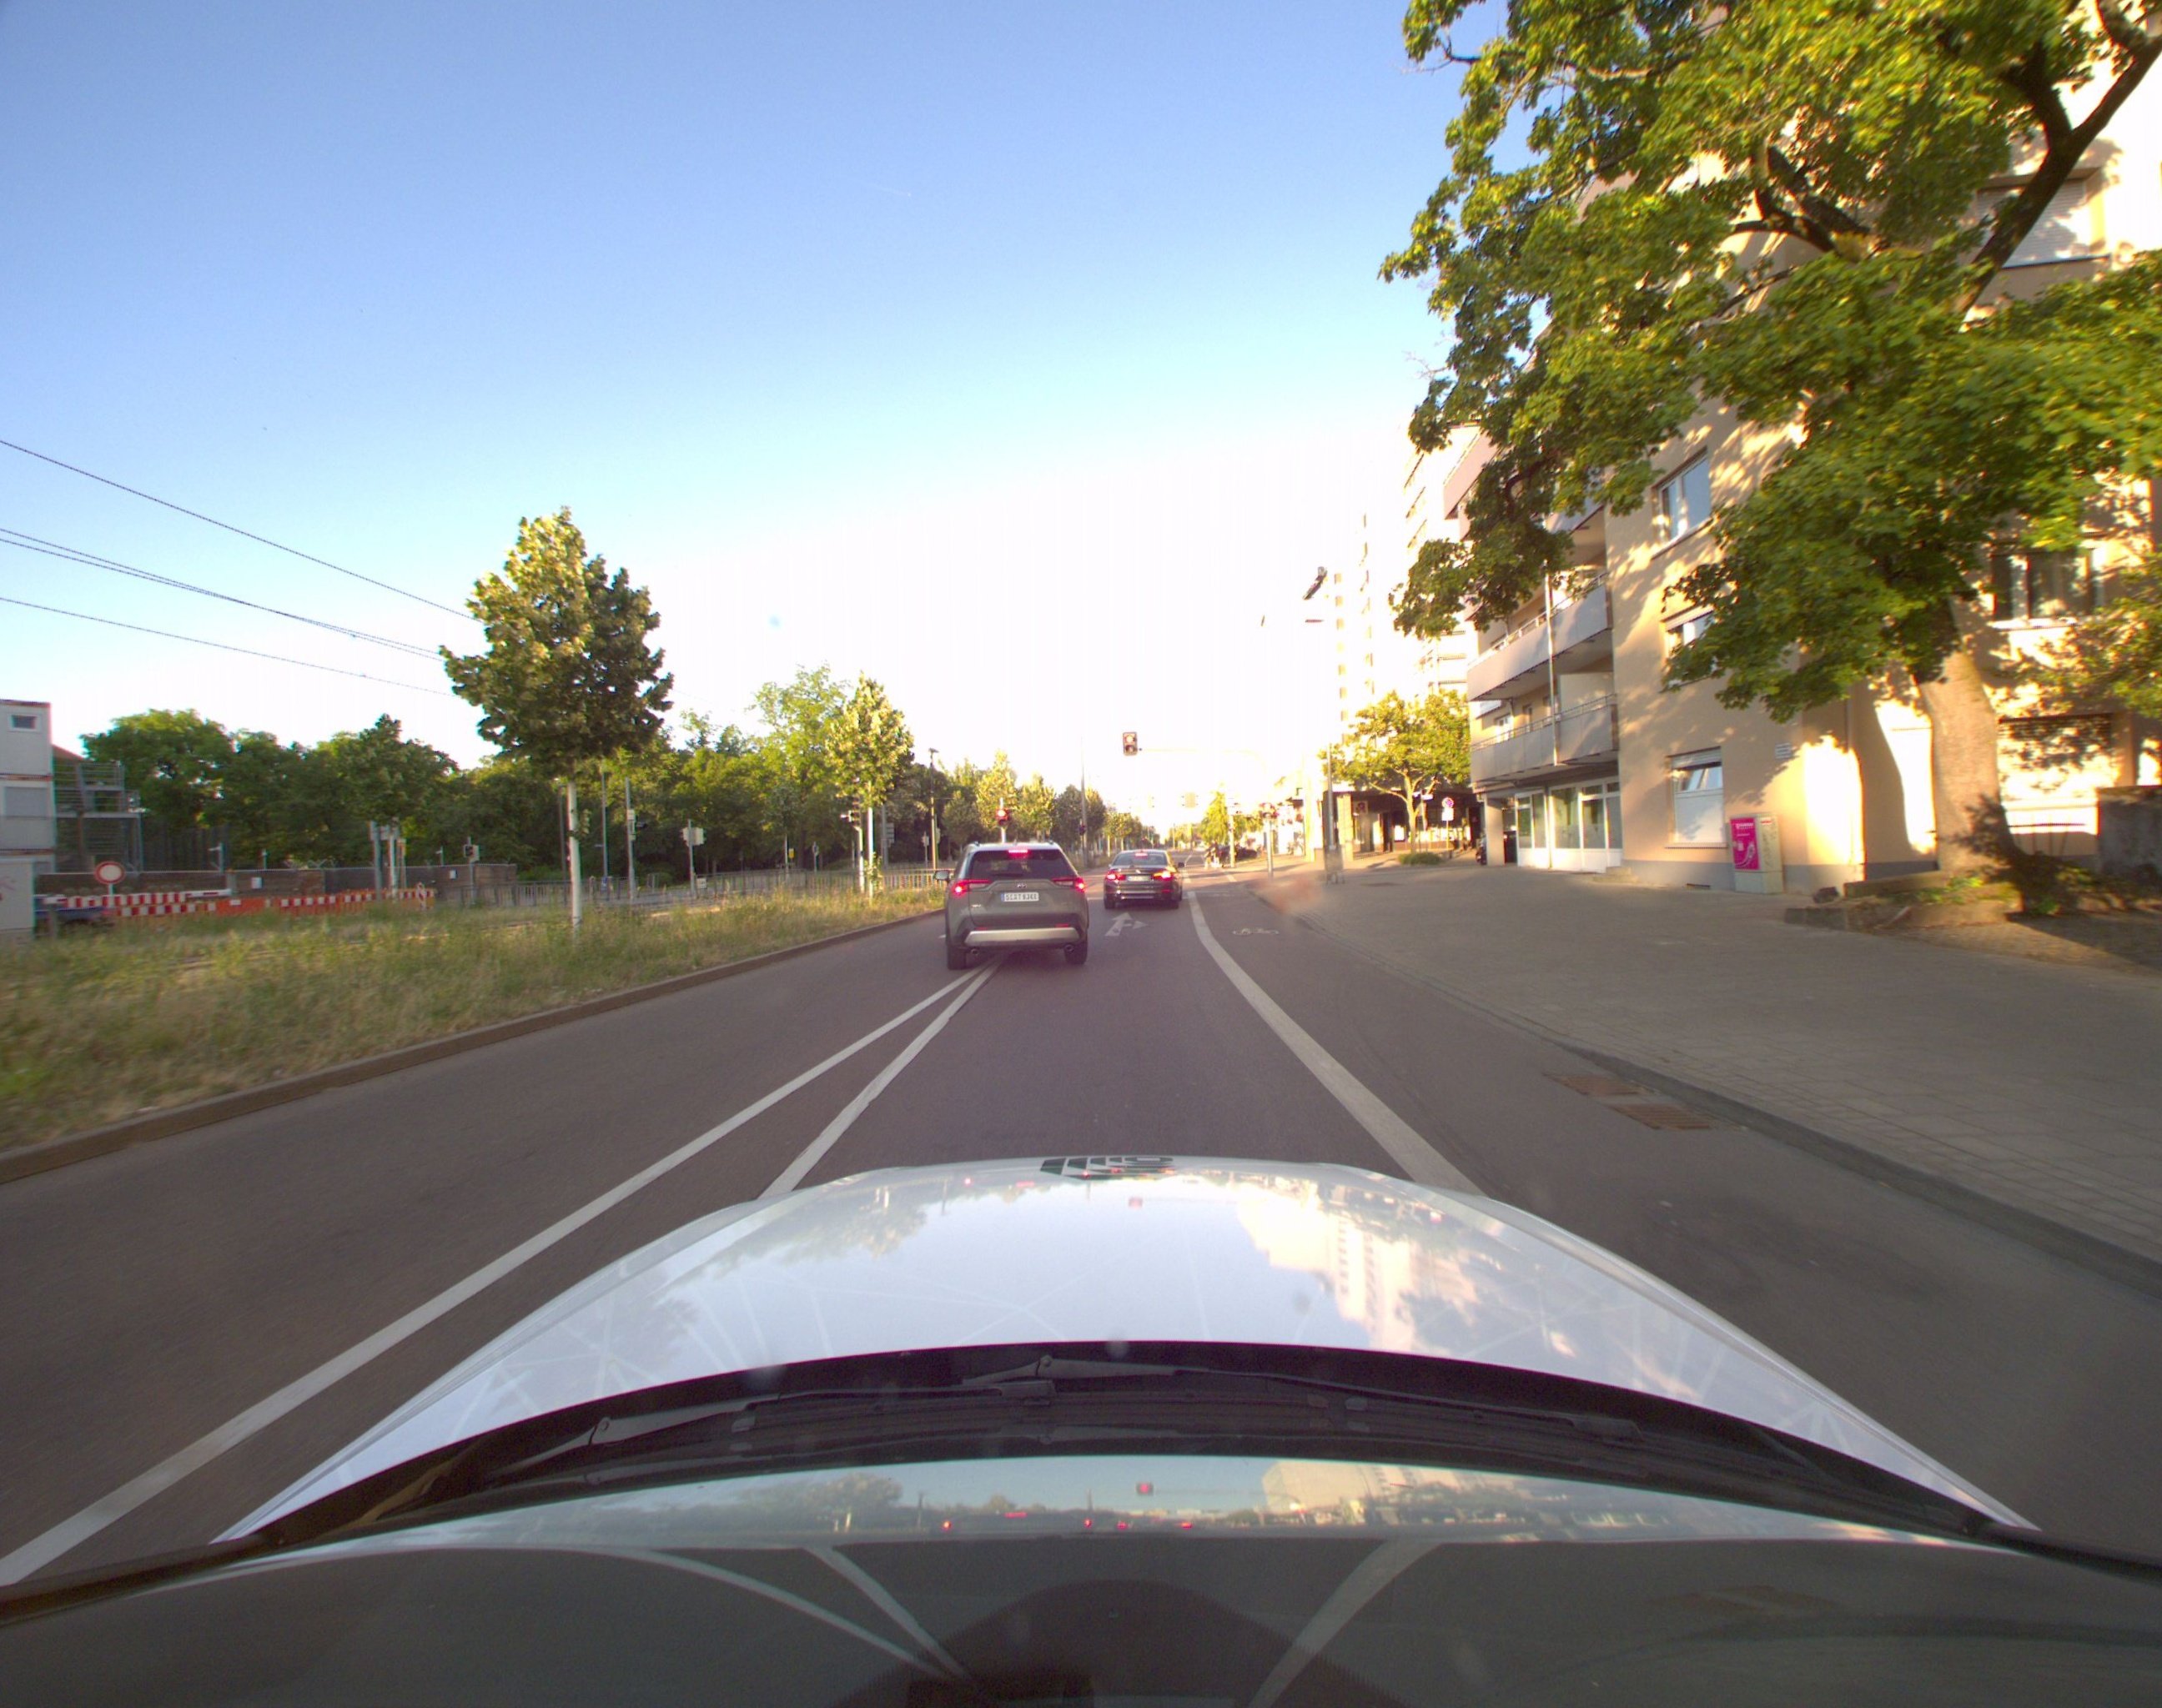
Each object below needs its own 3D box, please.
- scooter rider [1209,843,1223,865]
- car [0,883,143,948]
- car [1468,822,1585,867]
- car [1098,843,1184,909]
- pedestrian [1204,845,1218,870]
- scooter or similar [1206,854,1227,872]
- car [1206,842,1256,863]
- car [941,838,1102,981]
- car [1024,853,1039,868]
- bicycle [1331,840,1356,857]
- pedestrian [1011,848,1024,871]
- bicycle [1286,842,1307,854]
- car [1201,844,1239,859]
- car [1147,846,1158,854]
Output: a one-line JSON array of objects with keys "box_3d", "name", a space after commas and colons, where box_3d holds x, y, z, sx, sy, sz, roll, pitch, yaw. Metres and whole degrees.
[{"box_3d": [9.431, 0.011, 56.797, 0.814, 1.514, 0.656, -3, 0, 16], "name": "scooter rider"}, {"box_3d": [-28.469, 1.669, 21.450, 1.920, 1.481, 4.535, -1, 2, 9], "name": "car"}, {"box_3d": [19.169, -0.382, 35.187, 4.015, 1.585, 1.710, -4, -3, 10], "name": "car"}, {"box_3d": [1.695, 0.493, 21.498, 1.921, 1.481, 4.533, -1, 2, 8], "name": "car"}, {"box_3d": [8.665, 0.231, 54.234, 0.829, 1.586, 0.815, -3, 0, 14], "name": "pedestrian"}, {"box_3d": [9.459, 0.616, 56.765, 1.319, 1.153, 0.516, -3, 0, 16], "name": "scooter or similar"}, {"box_3d": [13.091, -0.175, 71.096, 4.288, 1.658, 1.840, -2, 2, -37], "name": "car"}, {"box_3d": [-1.065, 0.620, 12.025, 1.855, 1.658, 4.253, -1, 2, -11], "name": "car"}, {"box_3d": [-7.750, 0.944, 127.706, 1.987, 2.167, 4.750, -1, 1, -1], "name": "car"}, {"box_3d": [17.762, -0.376, 55.109, 0.689, 1.149, 2.014, 1, 0, -12], "name": "bicycle"}, {"box_3d": [-4.819, 0.428, 61.979, 0.831, 1.712, 0.648, -3, 0, 5], "name": "pedestrian"}, {"box_3d": [21.820, -0.581, 82.526, 2.003, 1.149, 0.693, 1, -1, 12], "name": "bicycle"}, {"box_3d": [16.940, -0.333, 99.243, 4.280, 1.658, 1.843, -2, 2, -29], "name": "car"}, {"box_3d": [14.201, -0.750, 161.631, 1.969, 1.433, 4.852, -1, 2, 6], "name": "car"}]
